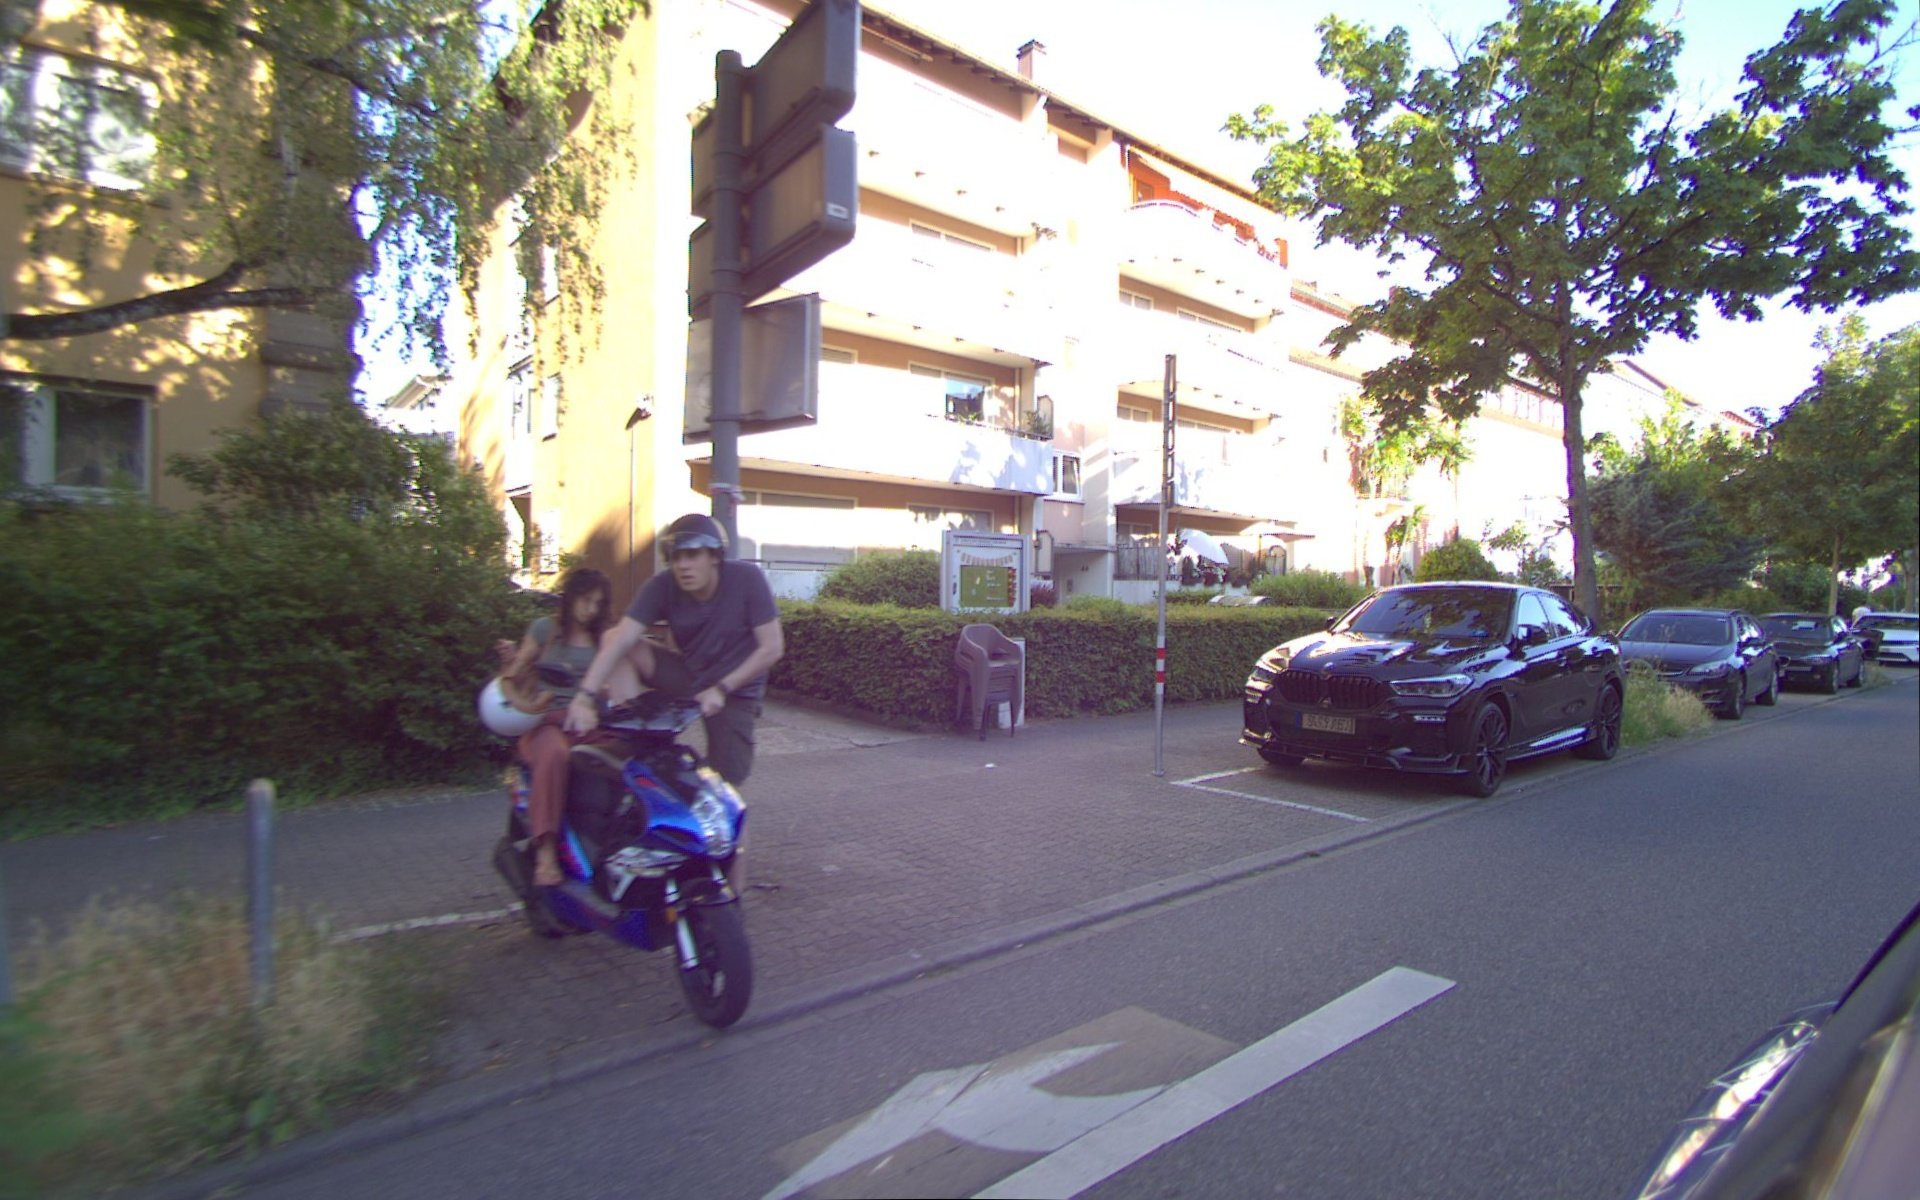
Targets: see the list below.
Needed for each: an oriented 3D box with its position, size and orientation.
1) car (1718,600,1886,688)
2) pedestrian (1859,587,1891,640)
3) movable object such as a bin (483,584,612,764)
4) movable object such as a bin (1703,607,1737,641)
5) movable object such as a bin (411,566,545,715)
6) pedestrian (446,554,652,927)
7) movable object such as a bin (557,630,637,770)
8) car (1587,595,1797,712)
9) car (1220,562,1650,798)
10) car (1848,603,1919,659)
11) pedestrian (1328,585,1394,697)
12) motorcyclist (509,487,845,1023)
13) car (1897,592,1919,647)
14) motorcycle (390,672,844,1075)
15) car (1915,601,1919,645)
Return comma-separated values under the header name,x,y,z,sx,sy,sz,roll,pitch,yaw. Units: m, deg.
name,x,y,z,sx,sy,sz,roll,pitch,yaw
car,16.328,0.758,19.541,4.405,1.467,1.774,0,1,-41
pedestrian,32.279,0.474,35.704,0.751,1.806,0.669,-2,-2,-41
movable object such as a bin,-3.687,0.592,8.994,0.974,1.460,1.259,1,0,-25
movable object such as a bin,25.316,0.781,33.726,0.672,1.071,0.727,1,3,-41
movable object such as a bin,-5.439,0.420,11.429,1.153,1.575,0.980,1,0,41
pedestrian,-1.752,0.543,4.349,0.437,1.448,0.694,0,0,38
movable object such as a bin,-2.964,0.790,8.256,0.537,1.072,0.496,1,0,-28
car,11.154,0.701,15.311,4.356,1.490,1.719,0,1,-42
car,4.638,0.562,9.504,4.712,1.676,1.951,0,0,-41
car,26.141,0.807,28.005,4.257,1.419,1.765,0,1,-40
pedestrian,6.068,0.598,15.329,0.570,1.636,0.747,1,0,-42
motorcyclist,-1.103,0.517,4.061,0.734,1.800,1.073,0,0,38
car,32.187,0.638,33.004,4.626,1.702,1.920,0,2,-42
motorcycle,-1.425,0.901,4.018,1.922,1.084,0.809,0,0,39
car,35.824,0.805,36.220,4.743,1.523,1.788,0,0,-39
